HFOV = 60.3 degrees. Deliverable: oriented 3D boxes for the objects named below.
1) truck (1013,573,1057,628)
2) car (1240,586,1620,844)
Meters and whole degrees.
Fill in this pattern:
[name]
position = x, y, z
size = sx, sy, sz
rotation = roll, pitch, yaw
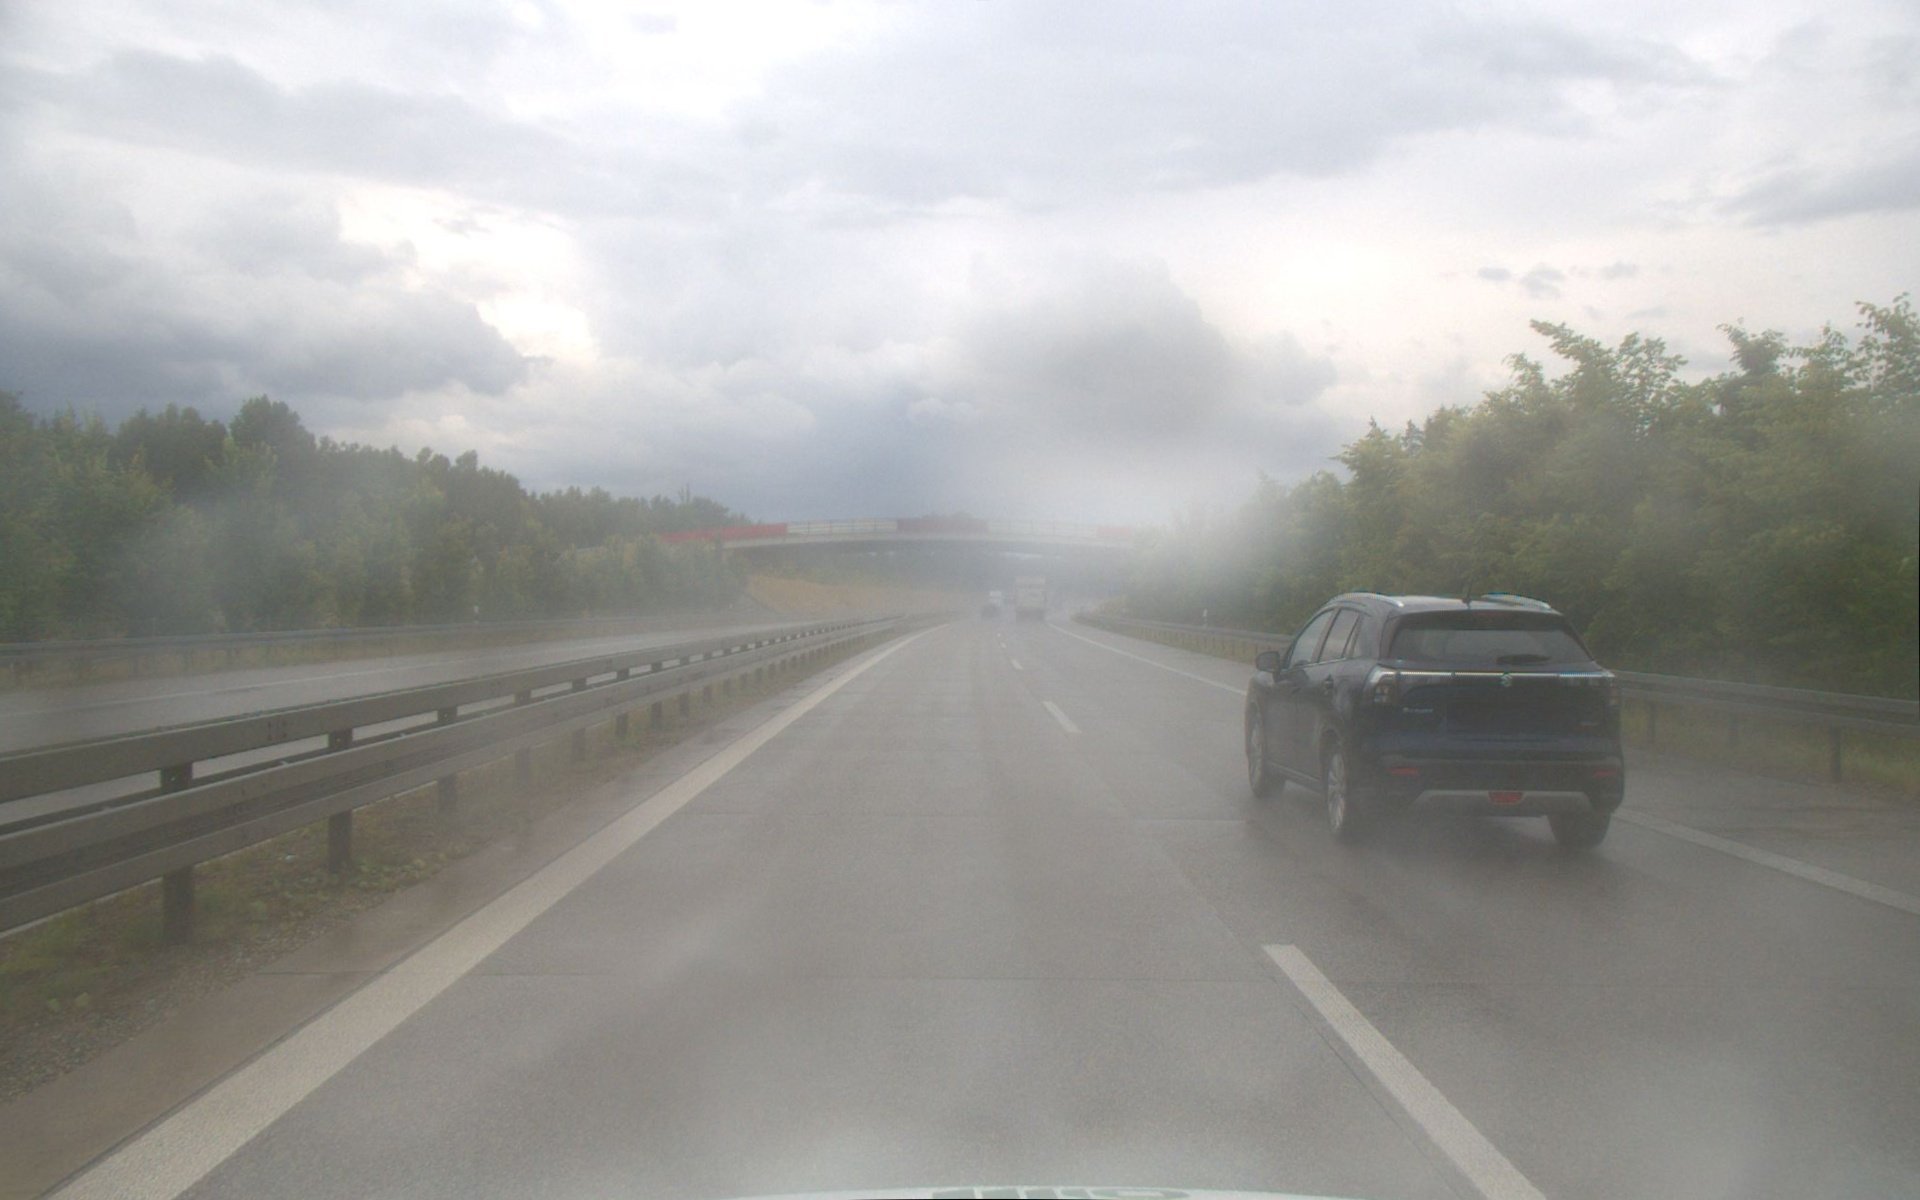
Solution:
[truck]
position = 6.363, 0.036, 139.302
size = 3.175, 4.514, 8.252
rotation = 0, 0, 6
[car]
position = 3.279, 0.726, 12.284
size = 1.855, 1.603, 3.632
rotation = 1, 0, 1
